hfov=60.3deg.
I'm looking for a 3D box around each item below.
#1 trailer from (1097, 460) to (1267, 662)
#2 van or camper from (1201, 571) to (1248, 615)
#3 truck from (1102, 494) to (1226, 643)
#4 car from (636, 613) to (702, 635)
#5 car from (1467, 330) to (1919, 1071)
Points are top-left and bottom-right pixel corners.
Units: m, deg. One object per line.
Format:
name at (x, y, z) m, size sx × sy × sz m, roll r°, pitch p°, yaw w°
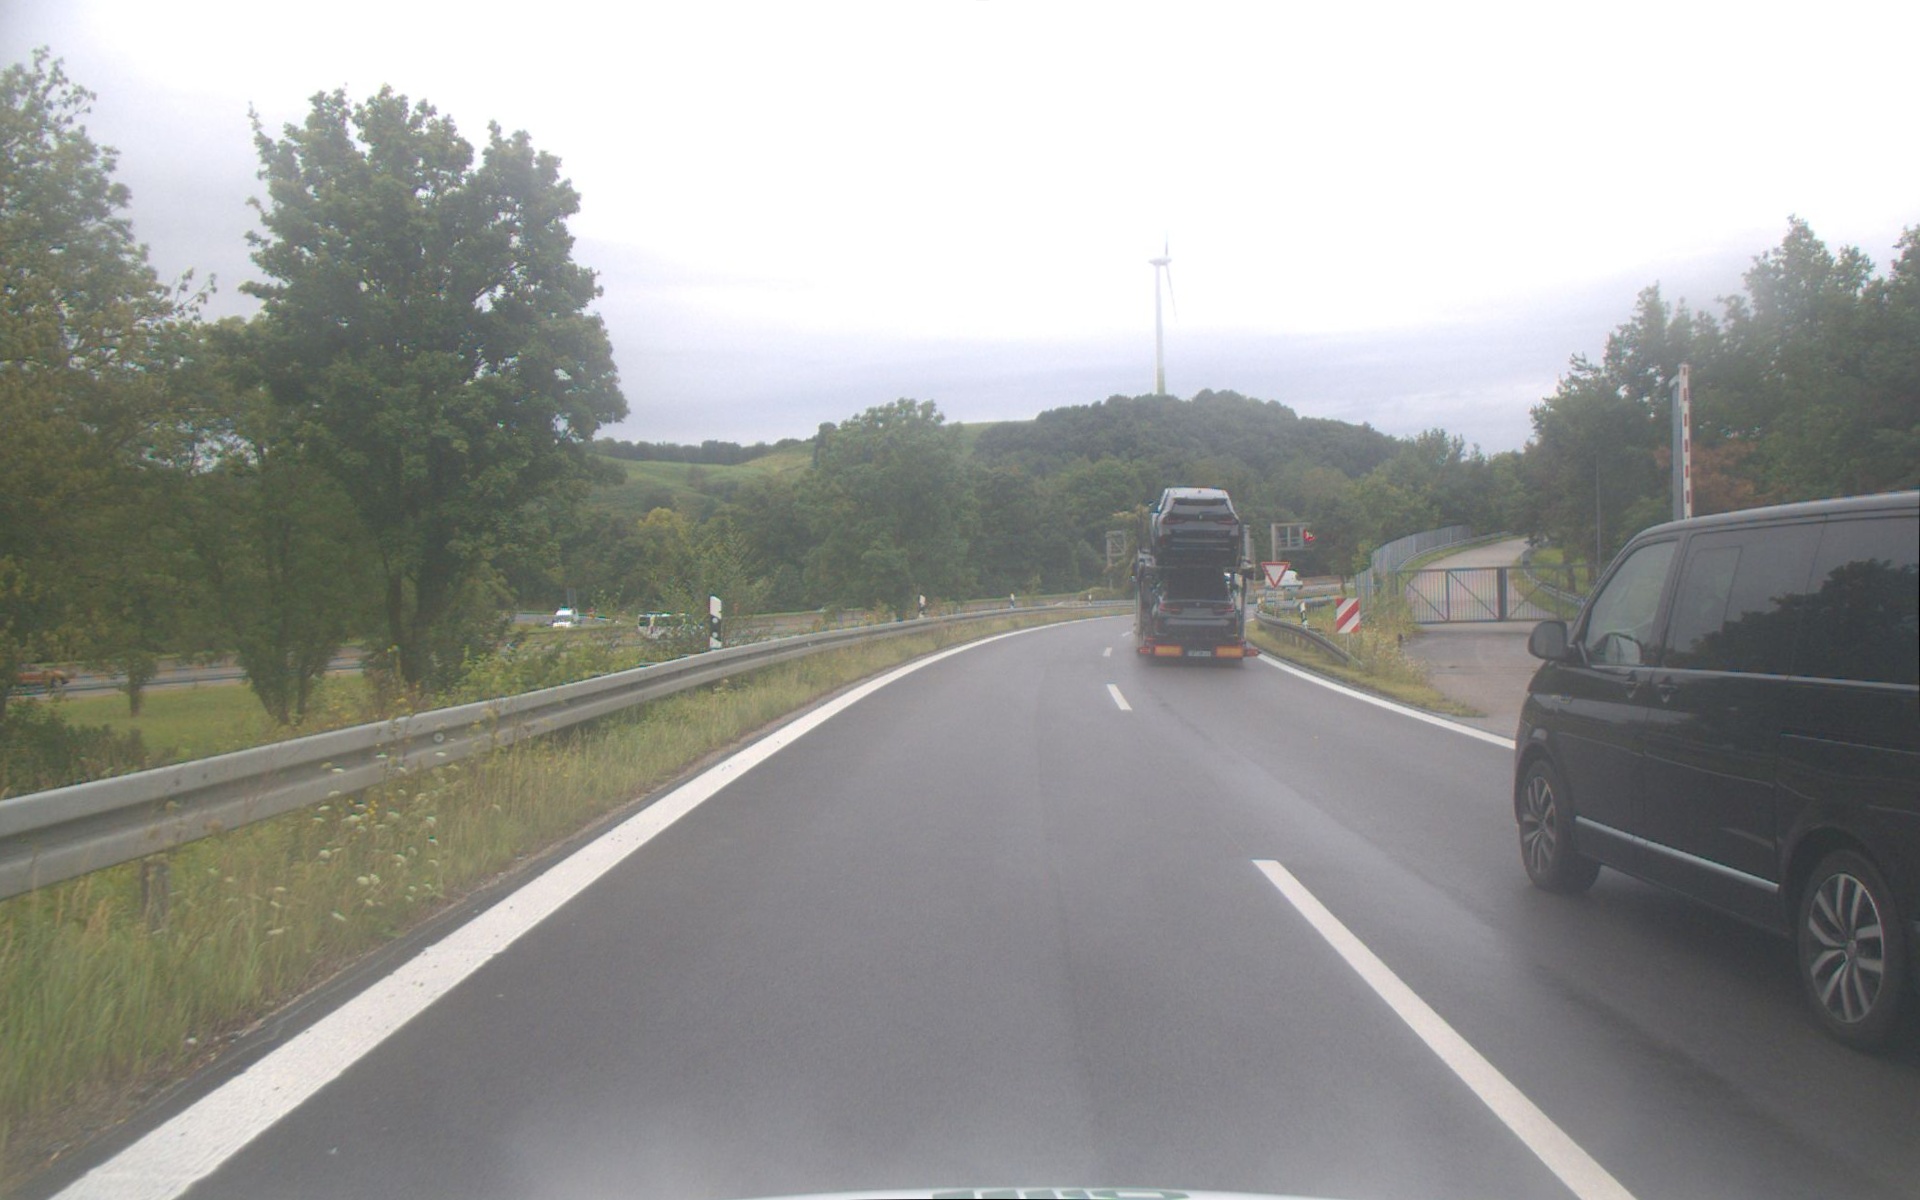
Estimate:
trailer at (5.122, -0.828, 39.980) m, size 3.376 × 4.069 × 12.034 m, roll 1°, pitch 0°, yaw 5°
van or camper at (14.364, -0.392, 89.559) m, size 2.048 × 2.270 × 4.434 m, roll 1°, pitch 0°, yaw 15°
truck at (6.193, -0.895, 51.455) m, size 3.323 × 4.069 × 10.854 m, roll 1°, pitch 0°, yaw 5°
car at (-23.999, 1.993, 136.425) m, size 1.966 × 1.747 × 5.288 m, roll -1°, pitch 0°, yaw 43°
car at (4.043, 0.311, 6.869) m, size 2.067 × 2.304 × 5.897 m, roll 1°, pitch 1°, yaw 0°
